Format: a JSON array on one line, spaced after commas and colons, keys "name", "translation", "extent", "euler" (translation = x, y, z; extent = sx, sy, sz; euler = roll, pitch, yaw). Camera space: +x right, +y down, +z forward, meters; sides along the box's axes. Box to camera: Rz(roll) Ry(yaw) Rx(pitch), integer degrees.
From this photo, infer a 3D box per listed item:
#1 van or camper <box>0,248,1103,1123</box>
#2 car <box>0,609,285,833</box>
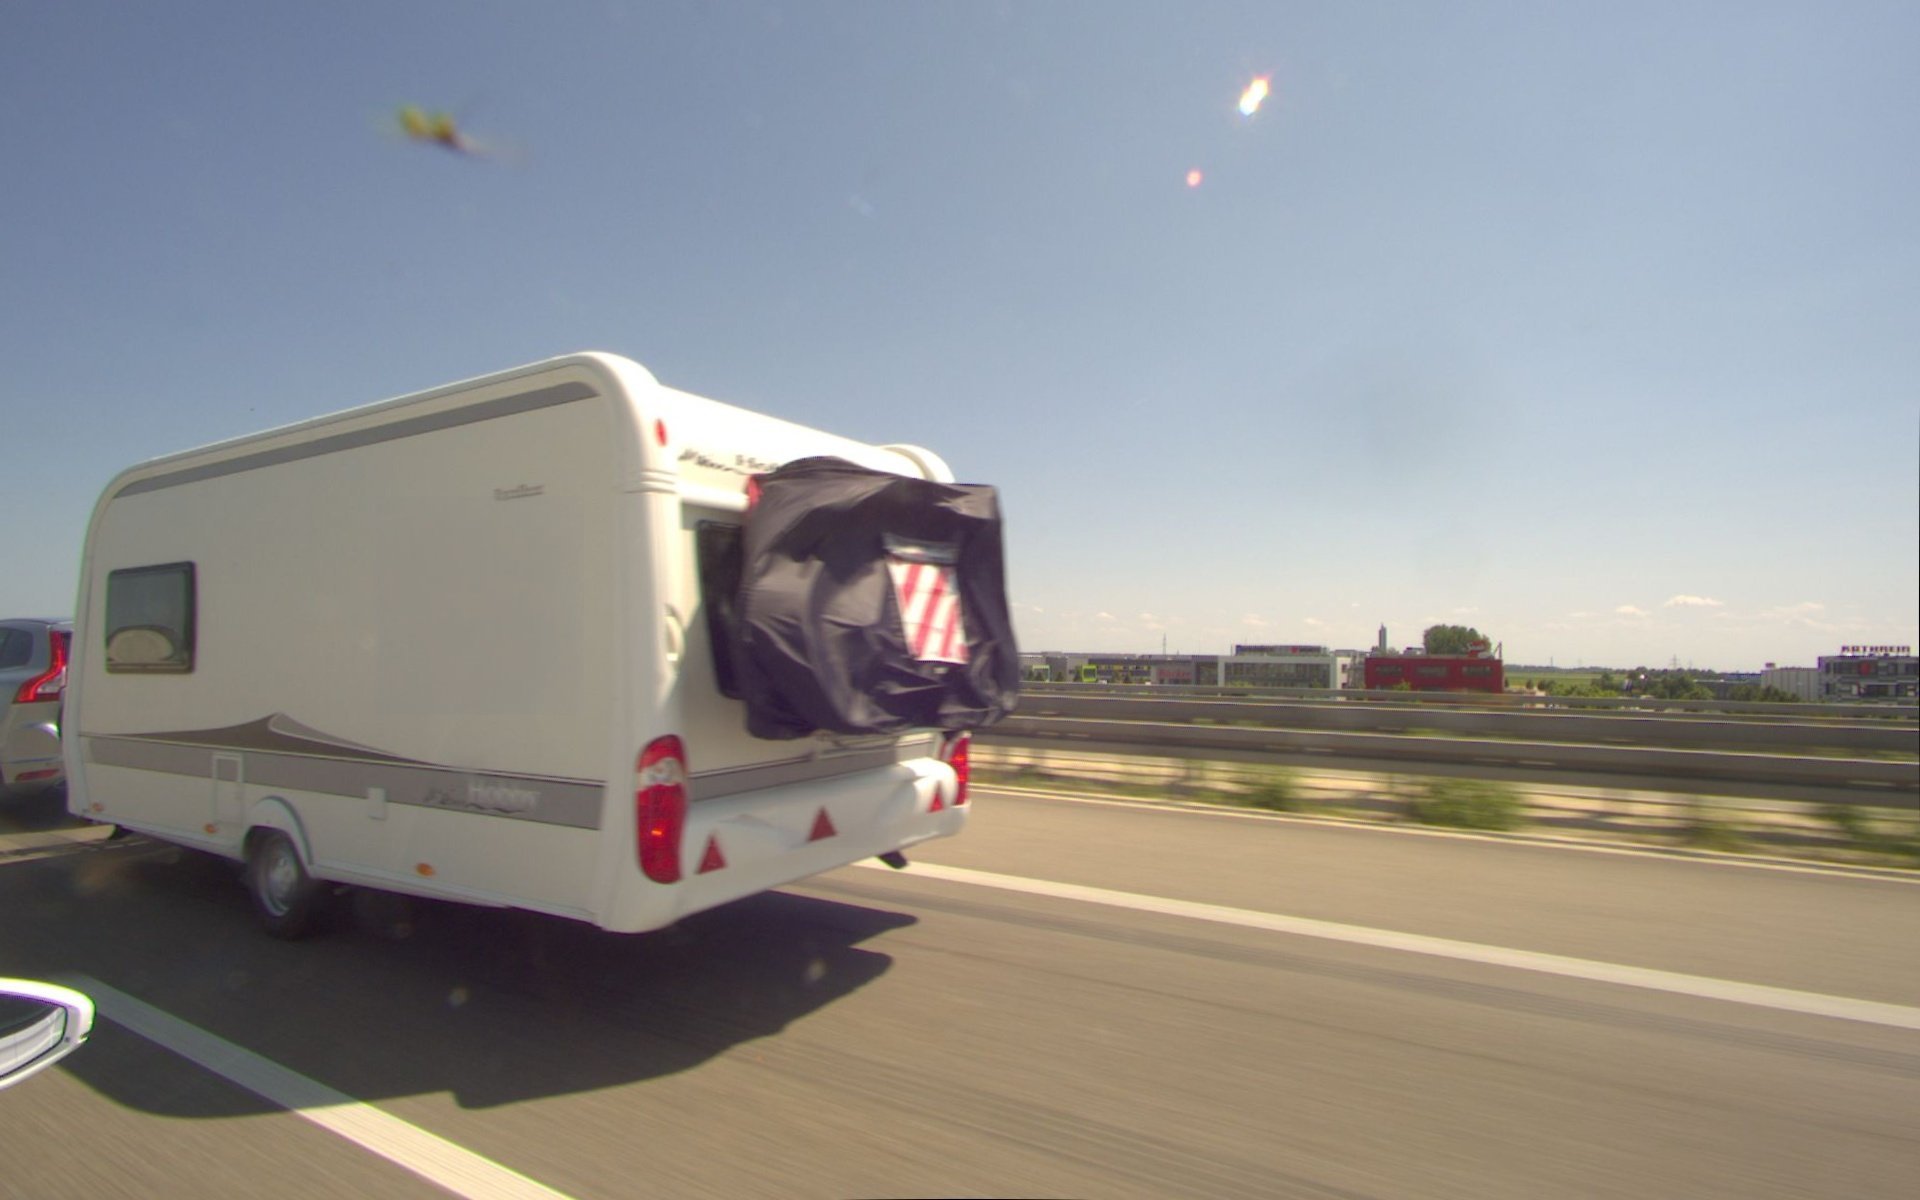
[{"name": "van or camper", "translation": [-3.186, 0.331, 6.125], "extent": [7.704, 2.626, 2.509], "euler": [-1, -2, 32]}, {"name": "car", "translation": [-8.583, 0.951, 9.434], "extent": [4.833, 1.643, 1.878], "euler": [-1, -2, 32]}]
